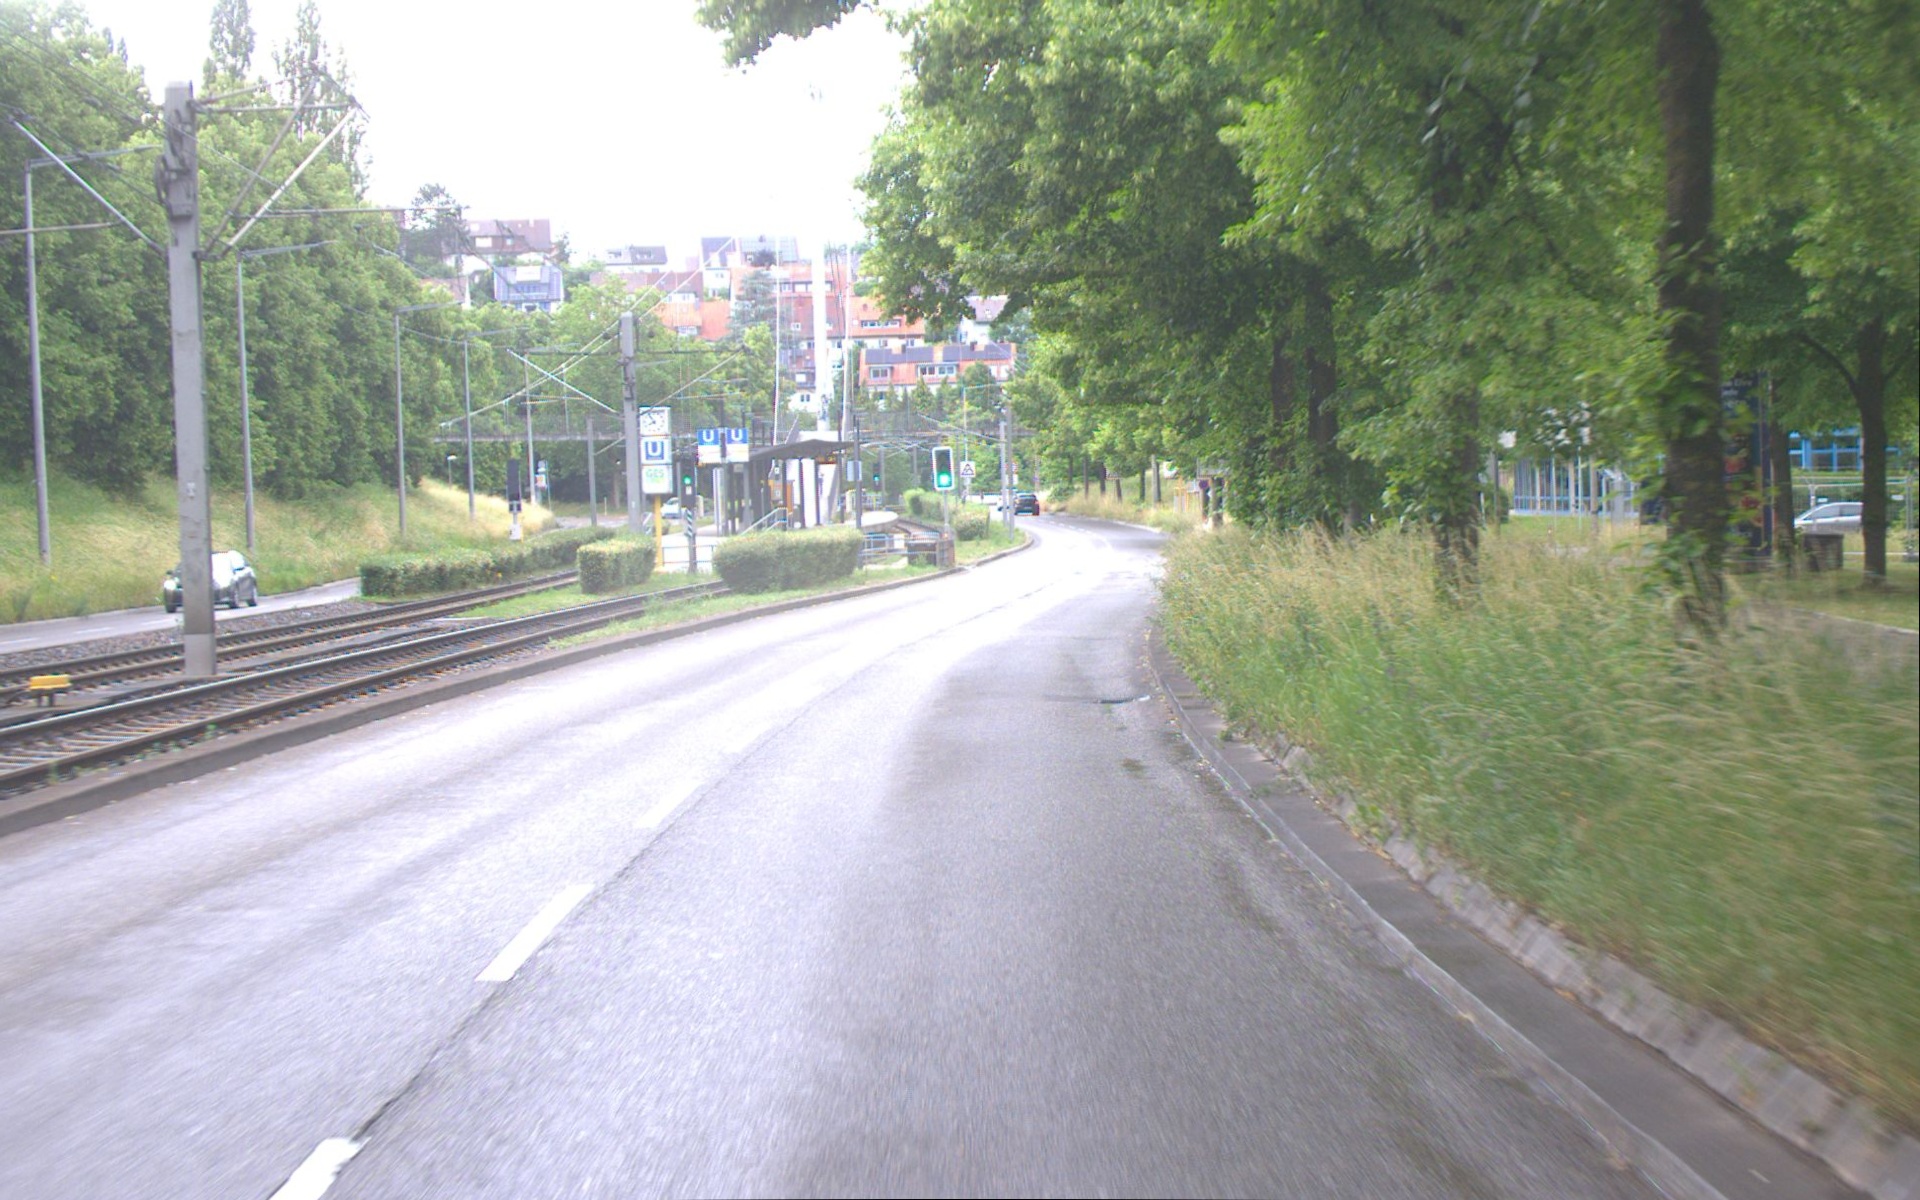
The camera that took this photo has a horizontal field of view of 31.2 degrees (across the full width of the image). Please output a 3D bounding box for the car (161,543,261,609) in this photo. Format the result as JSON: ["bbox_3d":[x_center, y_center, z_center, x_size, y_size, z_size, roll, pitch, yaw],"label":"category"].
[{"bbox_3d":[-18.988,-0.631,87.320,1.784,1.546,3.962,-3,1,-3],"label":"car"}]
